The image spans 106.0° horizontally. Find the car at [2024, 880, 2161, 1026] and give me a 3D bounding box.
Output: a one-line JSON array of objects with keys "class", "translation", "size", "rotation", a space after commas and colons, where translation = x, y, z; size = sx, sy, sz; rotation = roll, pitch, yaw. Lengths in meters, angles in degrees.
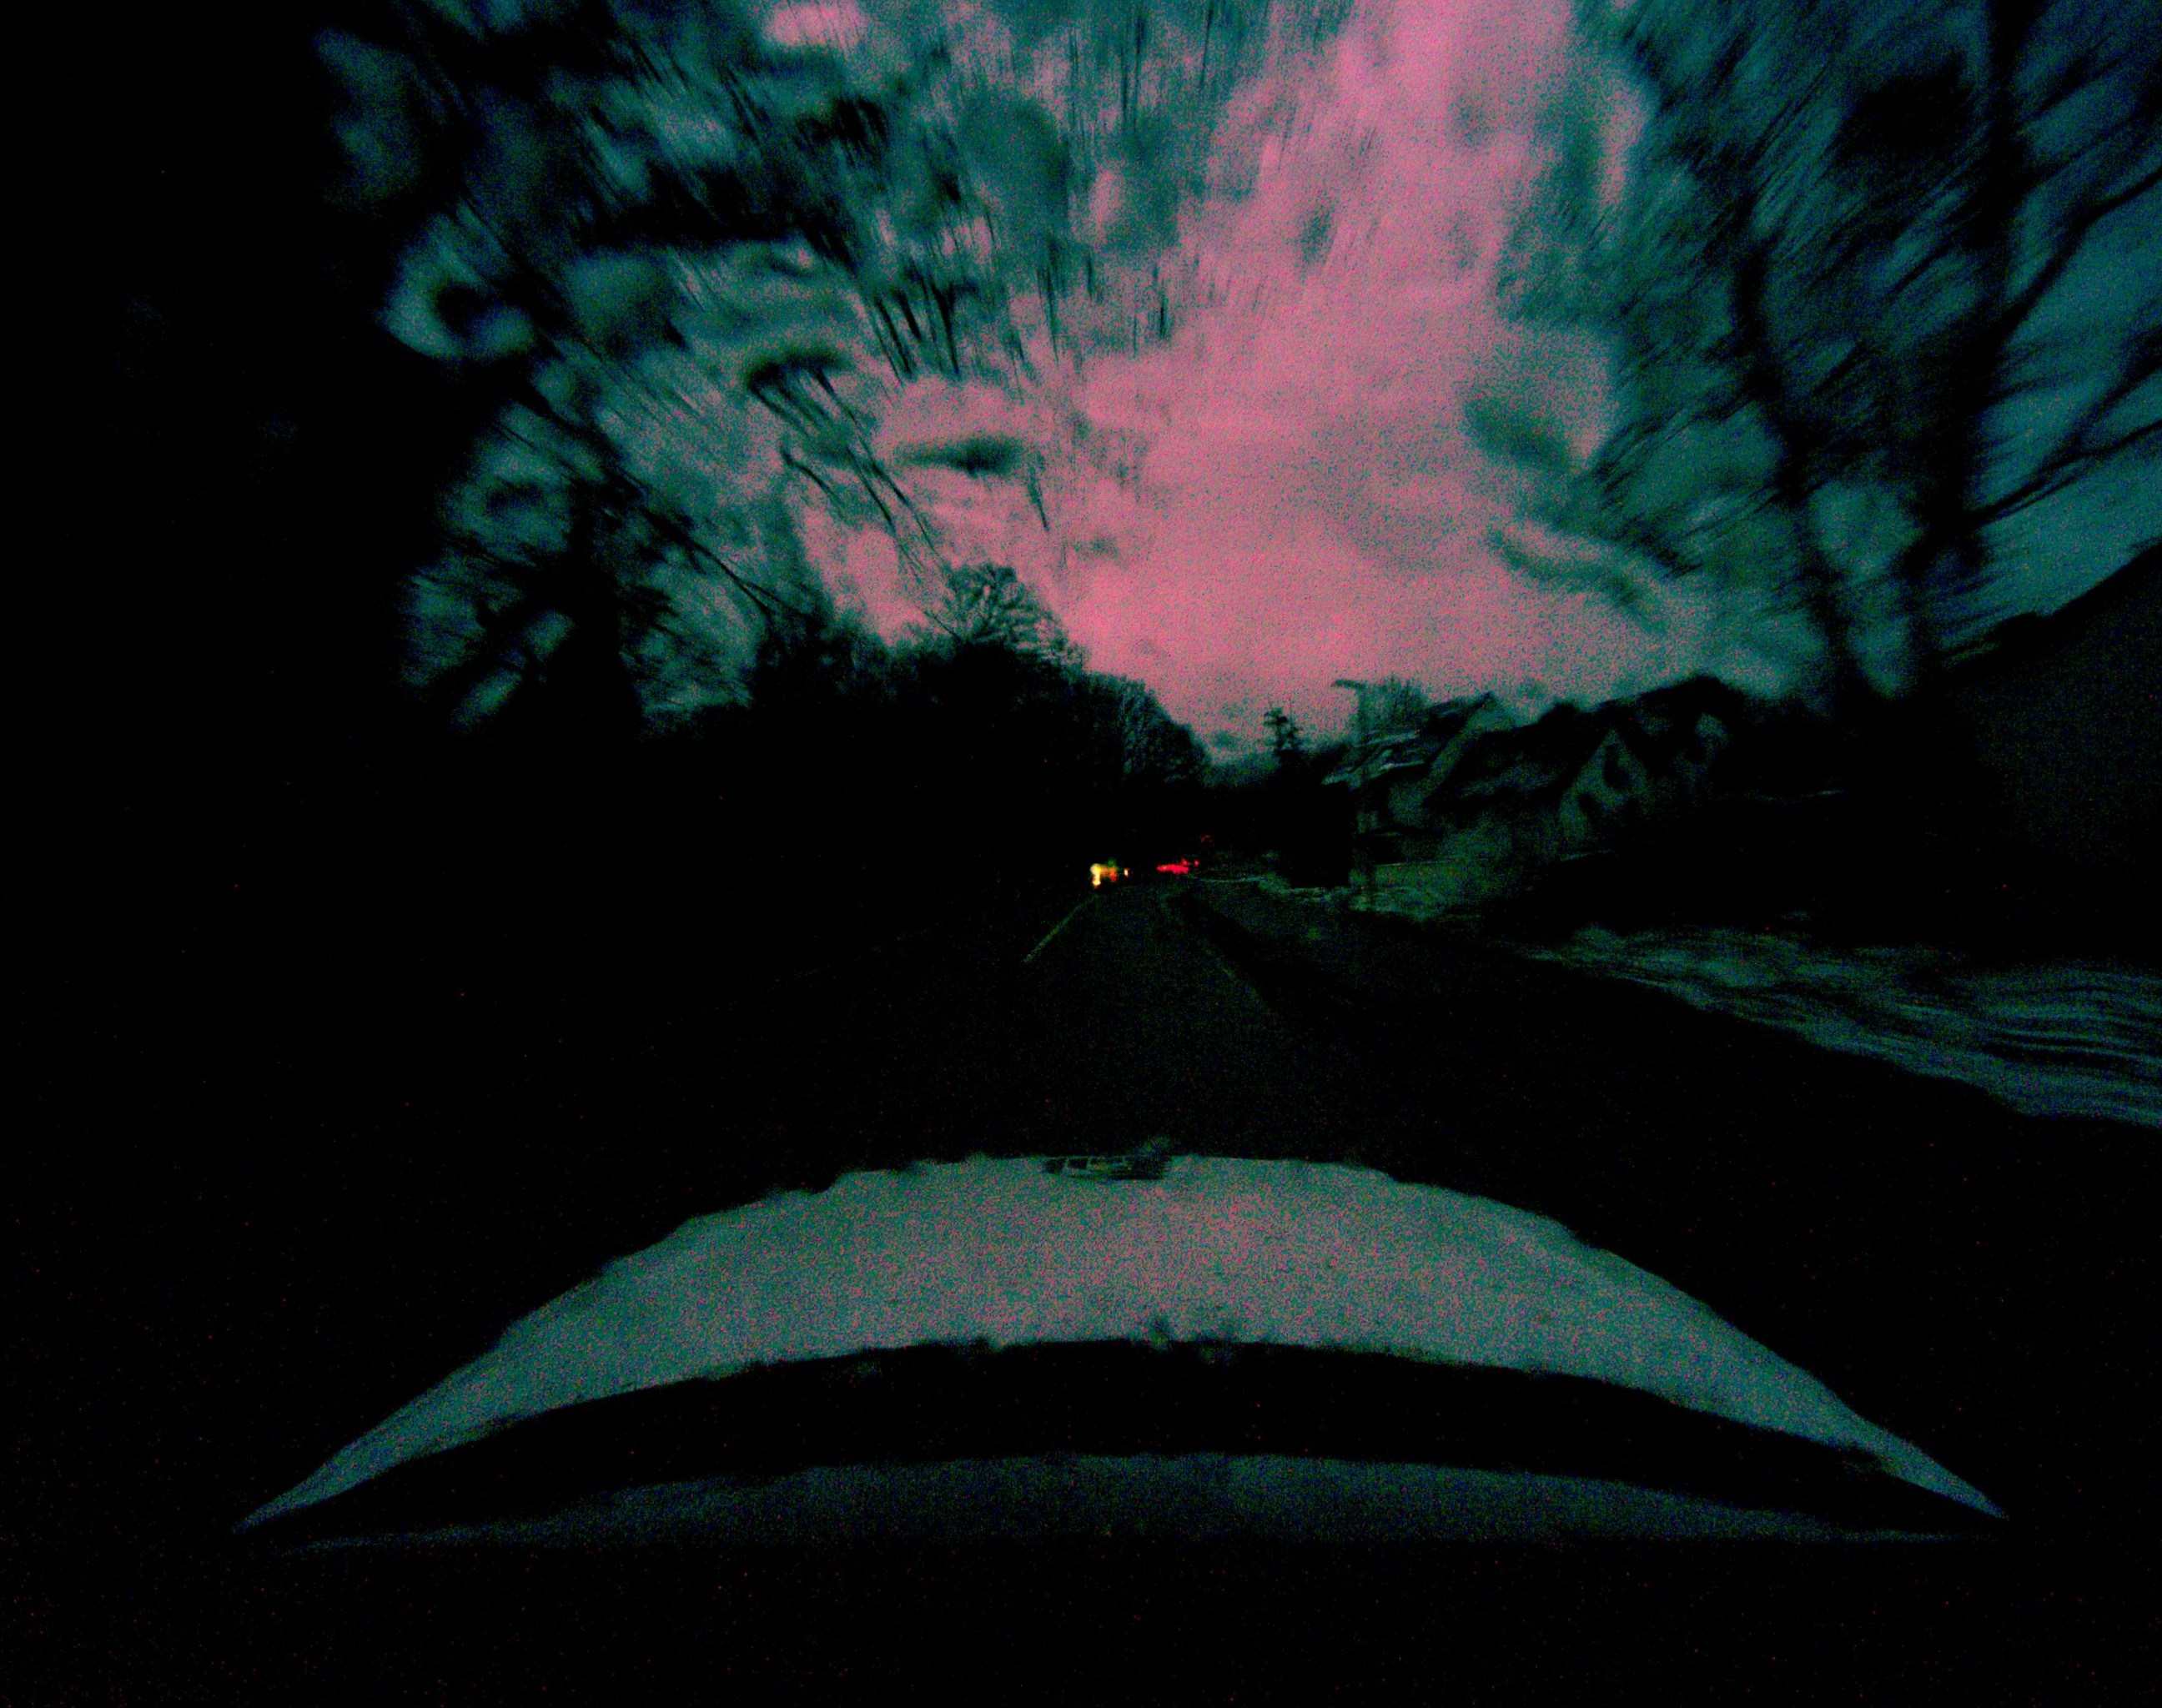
[{"class": "car", "translation": [14.293, 1.134, 9.841], "size": [3.772, 1.597, 1.802], "rotation": [-2, 0, -2]}]

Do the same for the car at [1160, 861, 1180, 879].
[{"class": "car", "translation": [9.068, 1.606, 82.427], "size": [1.923, 1.781, 4.008], "rotation": [-2, 0, 7]}]

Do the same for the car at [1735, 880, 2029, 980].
[{"class": "car", "translation": [14.808, 1.361, 15.205], "size": [3.772, 1.597, 1.802], "rotation": [-2, 0, -2]}]

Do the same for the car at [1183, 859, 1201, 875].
[{"class": "car", "translation": [12.809, 1.510, 94.254], "size": [1.923, 1.676, 4.008], "rotation": [-2, 0, 7]}]
